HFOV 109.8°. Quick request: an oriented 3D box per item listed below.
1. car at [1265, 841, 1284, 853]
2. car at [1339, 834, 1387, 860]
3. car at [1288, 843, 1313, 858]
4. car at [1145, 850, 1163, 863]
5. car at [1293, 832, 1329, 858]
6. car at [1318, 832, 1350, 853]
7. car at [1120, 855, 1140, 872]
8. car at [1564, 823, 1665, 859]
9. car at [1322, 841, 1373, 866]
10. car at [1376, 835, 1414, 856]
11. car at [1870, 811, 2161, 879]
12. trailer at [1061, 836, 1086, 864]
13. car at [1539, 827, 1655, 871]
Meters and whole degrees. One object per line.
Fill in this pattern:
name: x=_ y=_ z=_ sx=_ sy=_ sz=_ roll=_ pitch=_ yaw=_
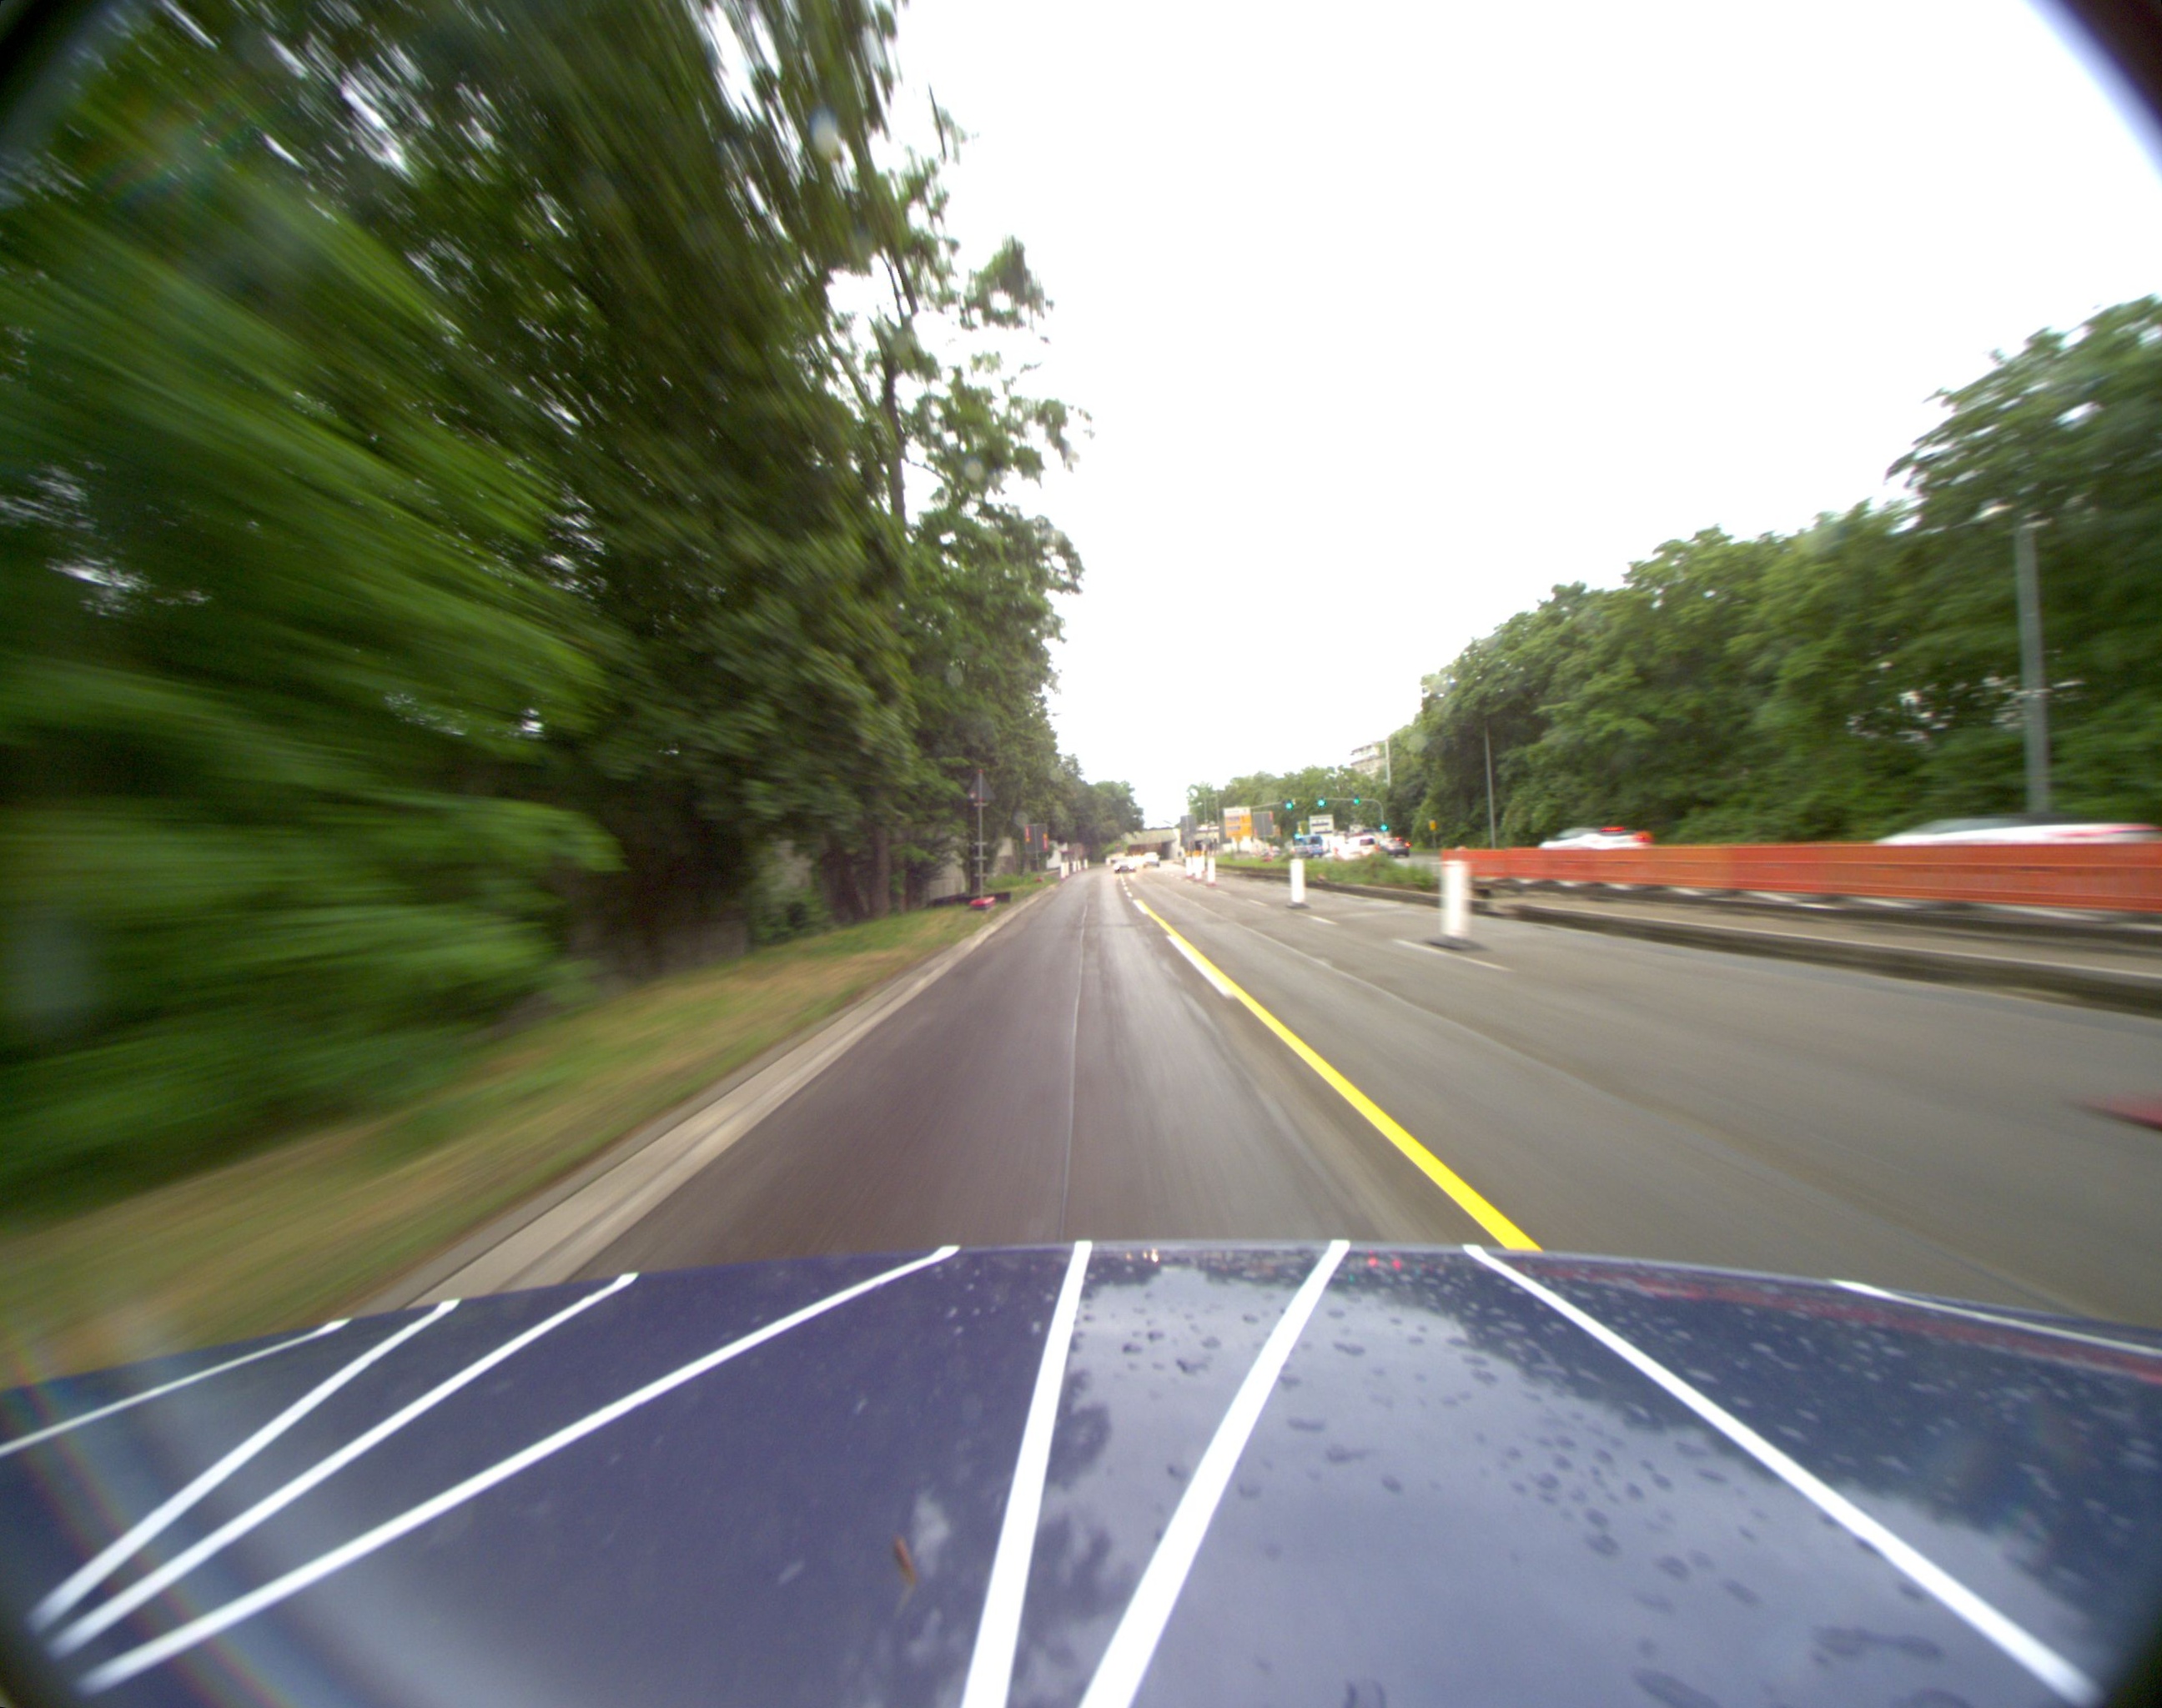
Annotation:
car: x=20.840 y=-0.746 z=81.940 sx=1.552 sy=1.193 sz=4.648 roll=-4 pitch=0 yaw=9
car: x=21.695 y=-0.490 z=58.642 sx=1.919 sy=1.771 sz=4.834 roll=-4 pitch=0 yaw=1
car: x=19.366 y=-0.352 z=67.152 sx=1.432 sy=1.193 sz=3.301 roll=-4 pitch=0 yaw=6
car: x=8.280 y=0.281 z=85.879 sx=1.696 sy=1.300 sz=3.827 roll=-3 pitch=0 yaw=9
car: x=23.611 y=-0.888 z=78.307 sx=2.200 sy=2.376 sz=6.247 roll=-4 pitch=-1 yaw=5
car: x=27.295 y=-1.184 z=82.094 sx=2.039 sy=1.962 sz=4.992 roll=-4 pitch=-1 yaw=5
car: x=4.493 y=0.860 z=69.494 sx=1.697 sy=1.393 sz=3.826 roll=-3 pitch=0 yaw=3
car: x=23.702 y=-0.559 z=33.941 sx=1.795 sy=1.417 sz=3.896 roll=-3 pitch=0 yaw=2
car: x=17.648 y=-0.021 z=50.564 sx=1.860 sy=1.477 sz=4.679 roll=-3 pitch=0 yaw=2
car: x=24.892 y=-0.649 z=60.383 sx=1.675 sy=1.514 sz=3.790 roll=-4 pitch=0 yaw=6
car: x=22.318 y=-0.205 z=18.434 sx=1.814 sy=1.371 sz=4.368 roll=-3 pitch=0 yaw=1
trailer: x=-0.968 y=-0.503 z=102.514 sx=2.312 sy=3.568 sz=5.963 roll=-2 pitch=1 yaw=10
car: x=20.139 y=-0.186 z=29.898 sx=1.839 sy=1.541 sz=4.040 roll=-3 pitch=0 yaw=2
